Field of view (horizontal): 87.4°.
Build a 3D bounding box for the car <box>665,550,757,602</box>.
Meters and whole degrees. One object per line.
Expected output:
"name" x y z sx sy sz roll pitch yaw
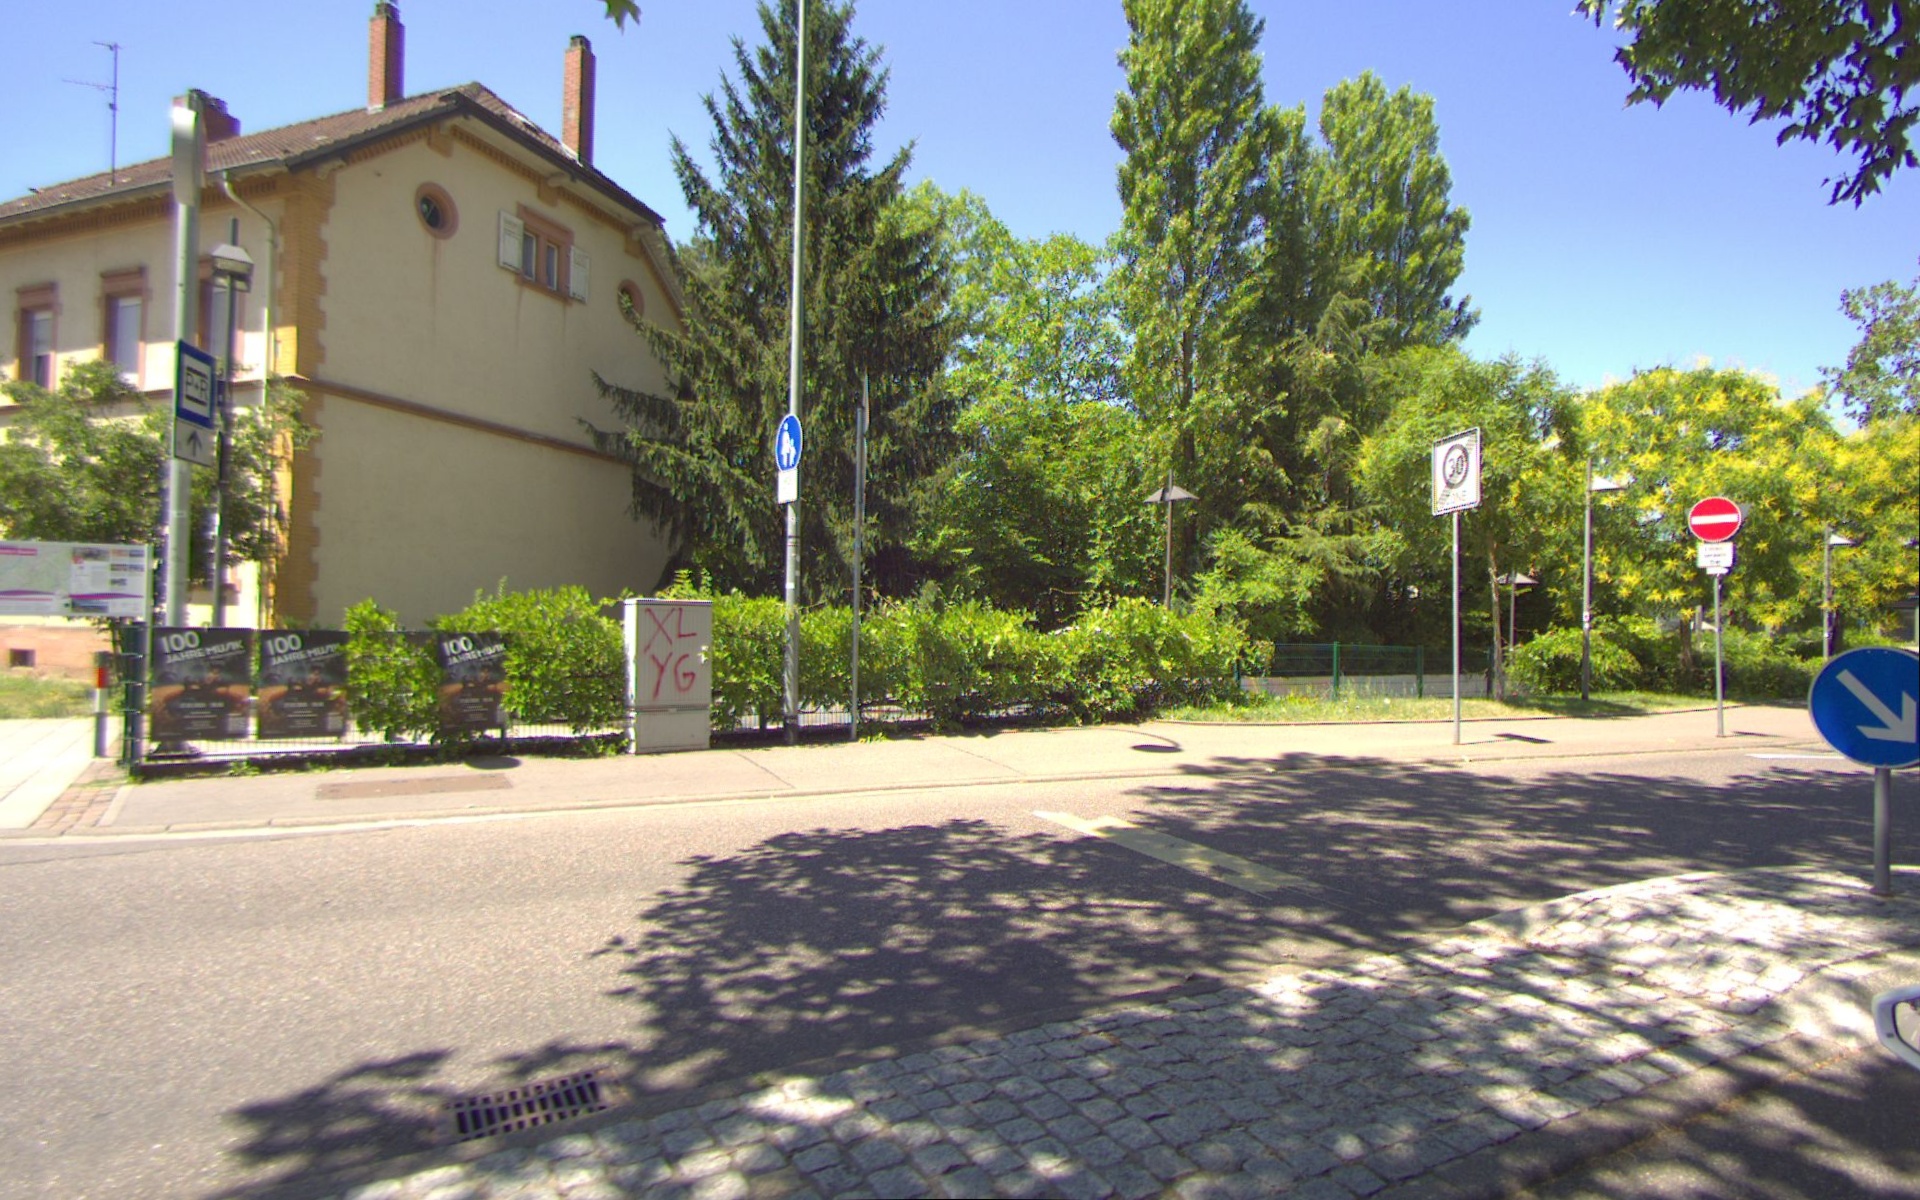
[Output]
"car" -9.131 -0.816 36.711 1.771 1.729 3.498 2 -2 -43
